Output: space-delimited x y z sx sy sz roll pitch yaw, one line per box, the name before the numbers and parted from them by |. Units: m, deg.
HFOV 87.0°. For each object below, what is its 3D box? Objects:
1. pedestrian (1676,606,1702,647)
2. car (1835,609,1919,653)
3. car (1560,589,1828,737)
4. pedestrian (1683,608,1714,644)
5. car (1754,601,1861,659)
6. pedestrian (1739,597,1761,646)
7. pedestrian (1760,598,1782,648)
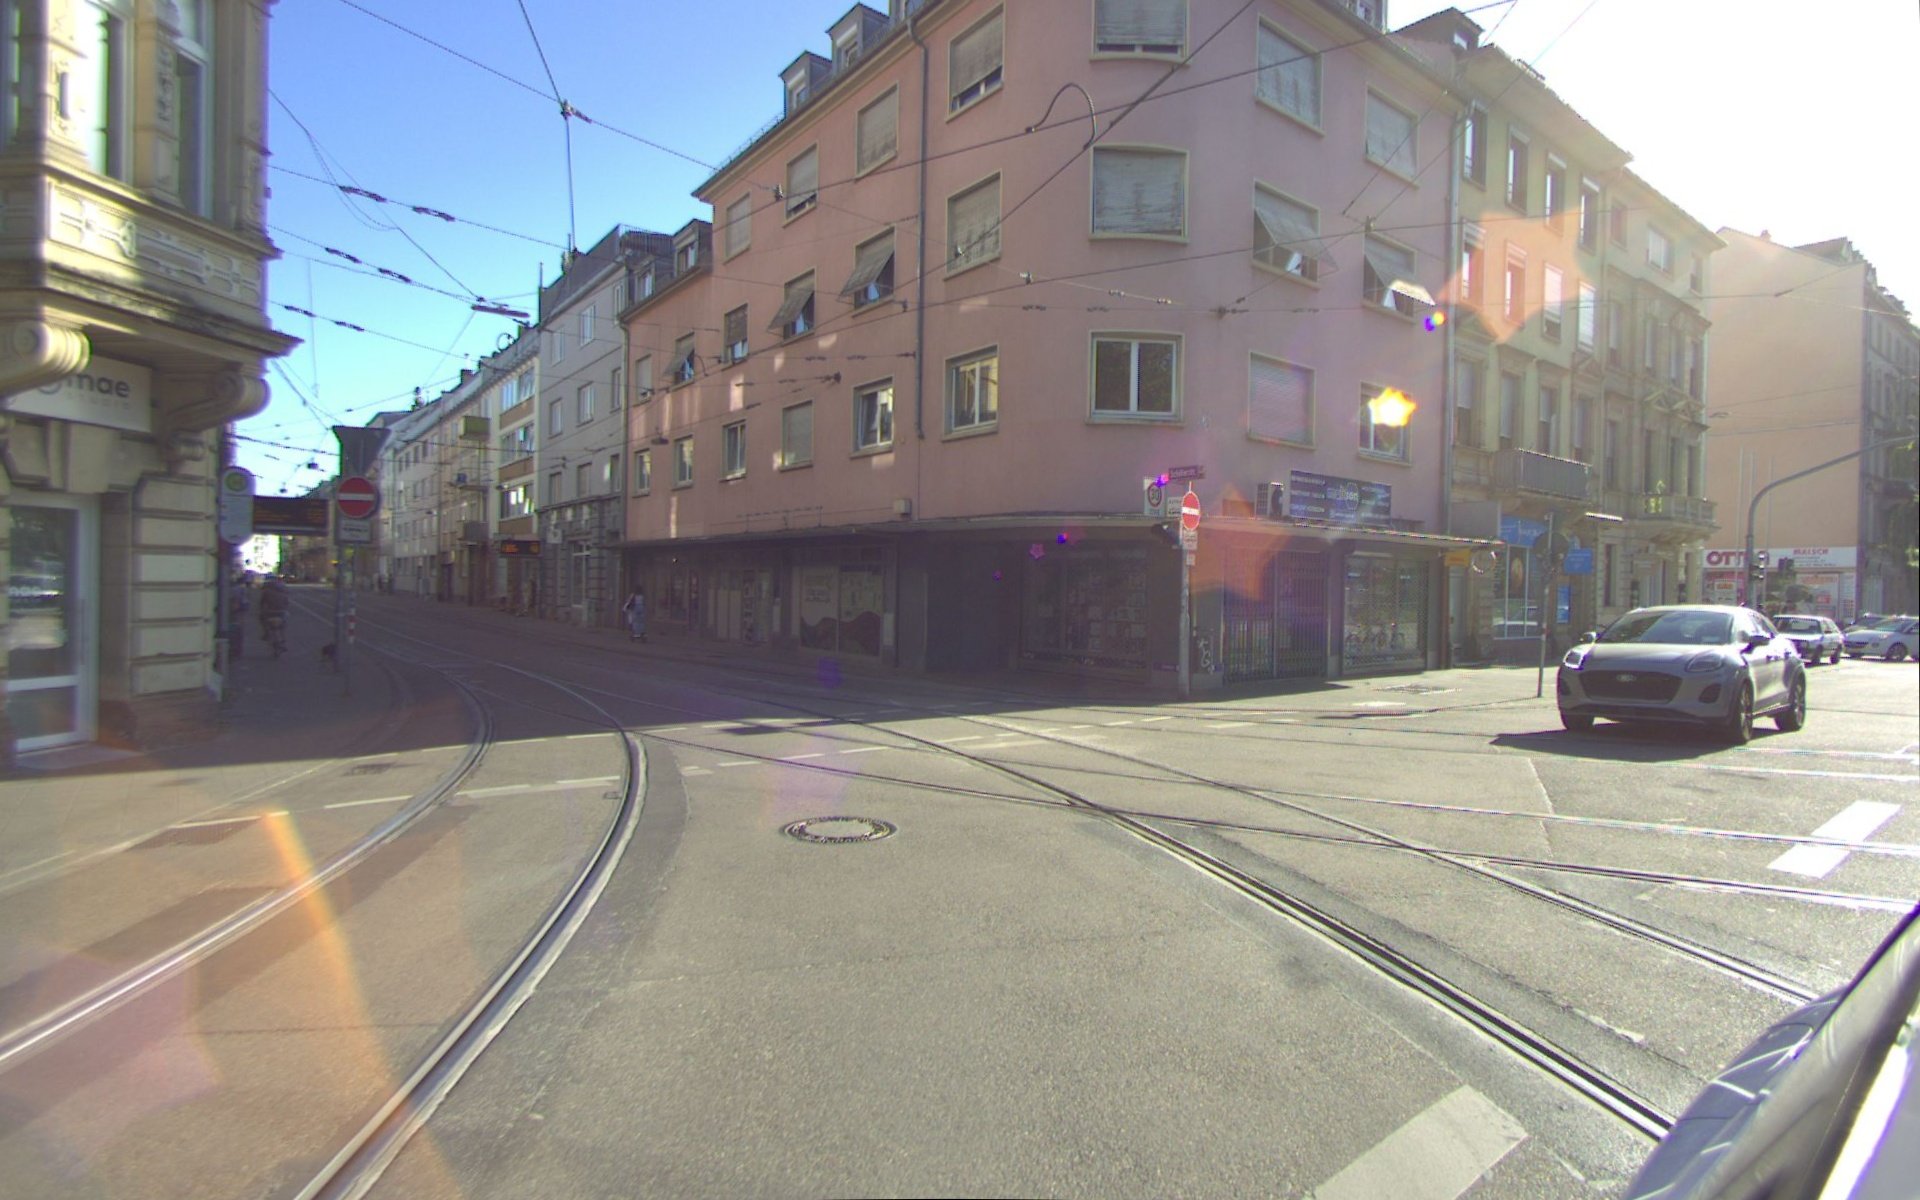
pedestrian | 23.421 0.842 32.510 0.647 1.276 0.495 1 0 -36
car | 32.653 1.046 34.586 3.923 1.469 1.817 0 -1 -1
car | 8.914 0.667 12.184 3.900 1.501 1.659 1 -1 -39
pedestrian | 24.430 0.859 33.480 0.485 1.185 0.661 1 0 -24
car | 25.562 0.865 30.489 3.928 1.537 1.739 1 2 -39
pedestrian | 29.121 0.797 37.288 0.648 1.784 0.495 0 0 -39
pedestrian | 29.427 0.814 36.724 0.648 1.784 0.495 1 -1 -39
